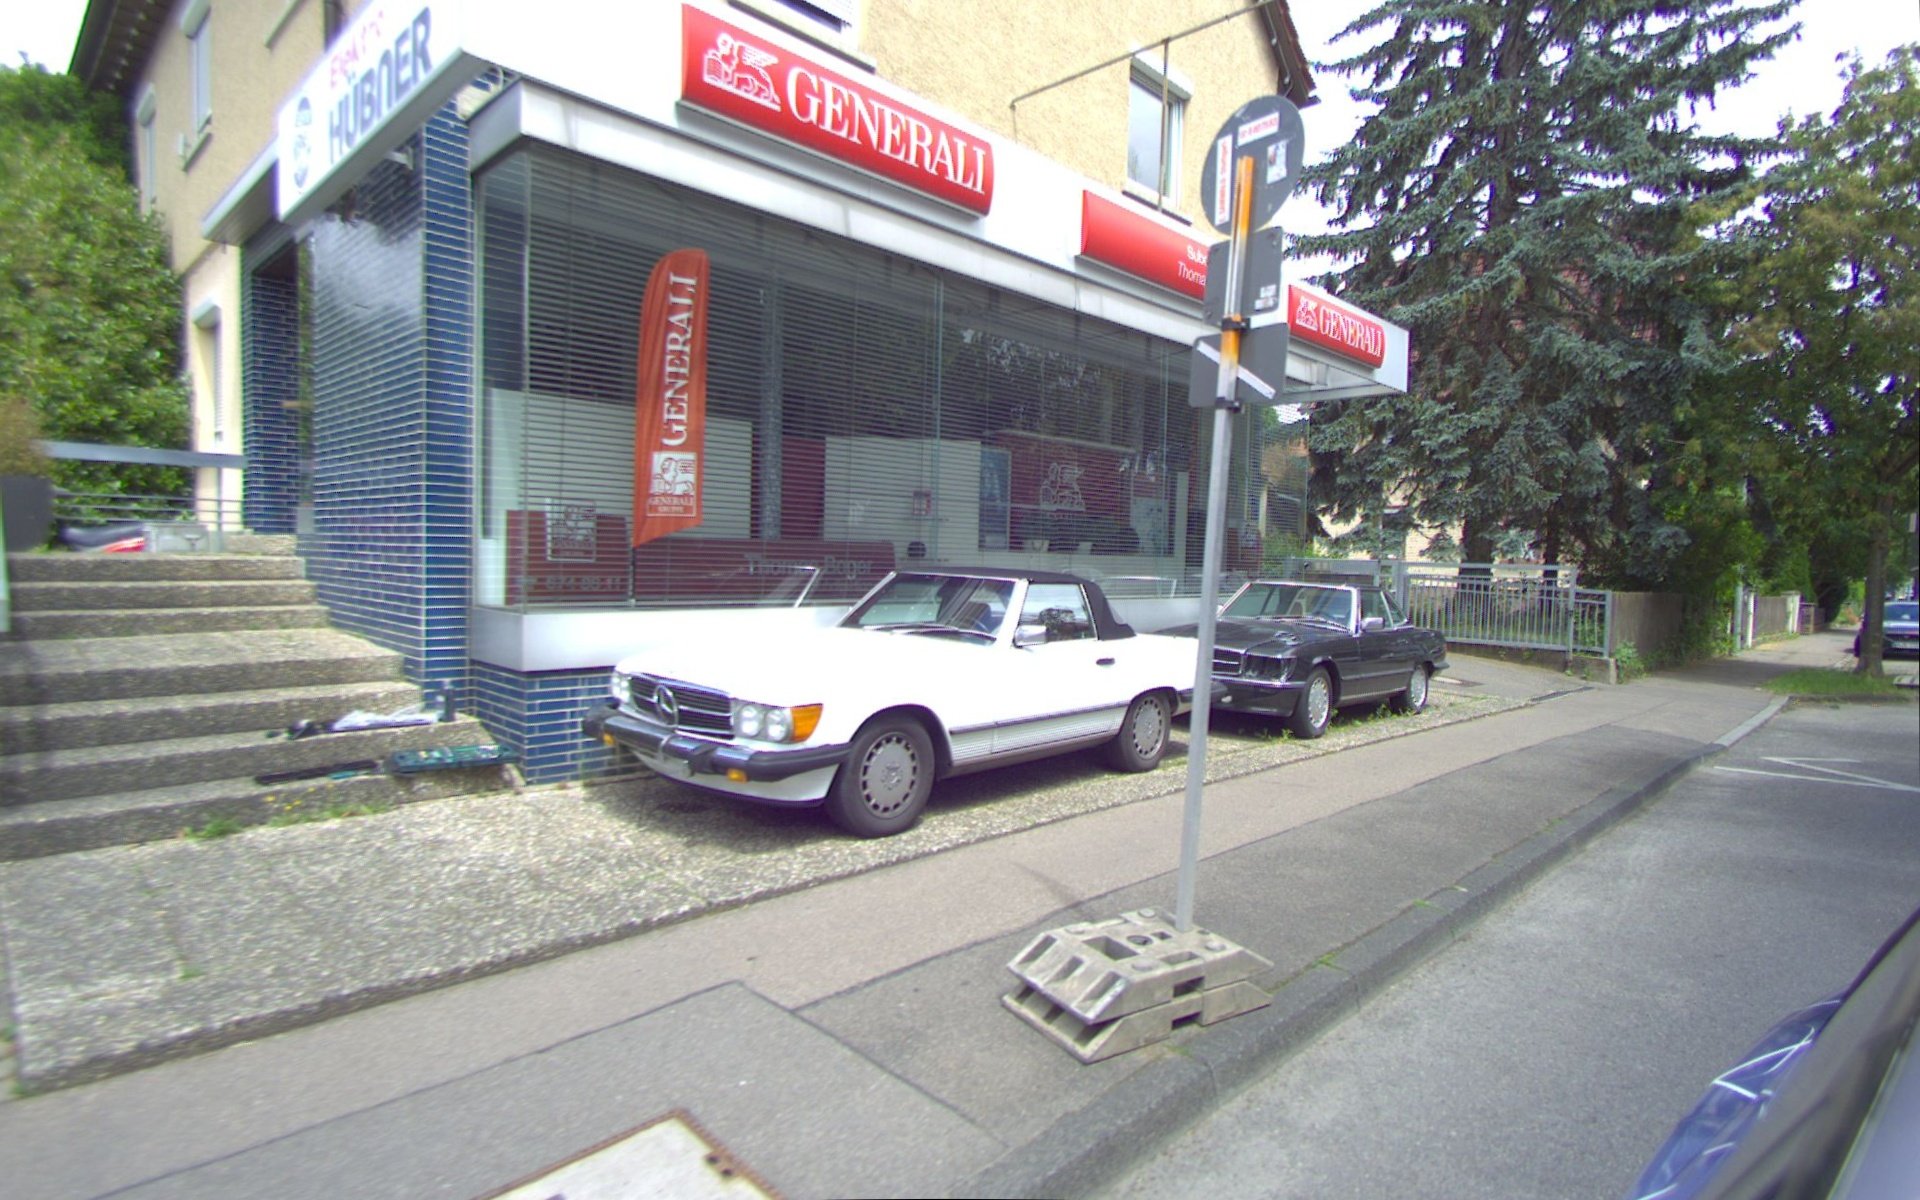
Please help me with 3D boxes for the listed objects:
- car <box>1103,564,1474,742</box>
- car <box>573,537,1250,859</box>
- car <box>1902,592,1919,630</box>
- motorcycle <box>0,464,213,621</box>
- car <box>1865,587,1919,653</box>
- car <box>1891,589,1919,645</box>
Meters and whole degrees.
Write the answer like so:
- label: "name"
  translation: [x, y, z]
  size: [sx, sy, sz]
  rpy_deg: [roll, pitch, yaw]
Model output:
- label: "car"
  translation: [3.388, 0.353, 9.927]
  size: [1.785, 1.299, 4.249]
  rpy_deg: [5, 4, 43]
- label: "car"
  translation: [0.030, 0.343, 6.538]
  size: [1.784, 1.332, 4.415]
  rpy_deg: [4, 4, 41]
- label: "car"
  translation: [41.397, 0.448, 43.112]
  size: [1.763, 1.510, 3.522]
  rpy_deg: [1, 2, 44]
- label: "motorcycle"
  translation: [-7.983, -0.538, 9.175]
  size: [1.877, 1.325, 0.402]
  rpy_deg: [-5, 11, -44]
- label: "car"
  translation: [24.079, 0.463, 25.358]
  size: [1.934, 1.510, 3.959]
  rpy_deg: [1, 2, 44]
- label: "car"
  translation: [27.549, 0.458, 28.582]
  size: [1.763, 1.510, 3.799]
  rpy_deg: [1, 1, 44]
